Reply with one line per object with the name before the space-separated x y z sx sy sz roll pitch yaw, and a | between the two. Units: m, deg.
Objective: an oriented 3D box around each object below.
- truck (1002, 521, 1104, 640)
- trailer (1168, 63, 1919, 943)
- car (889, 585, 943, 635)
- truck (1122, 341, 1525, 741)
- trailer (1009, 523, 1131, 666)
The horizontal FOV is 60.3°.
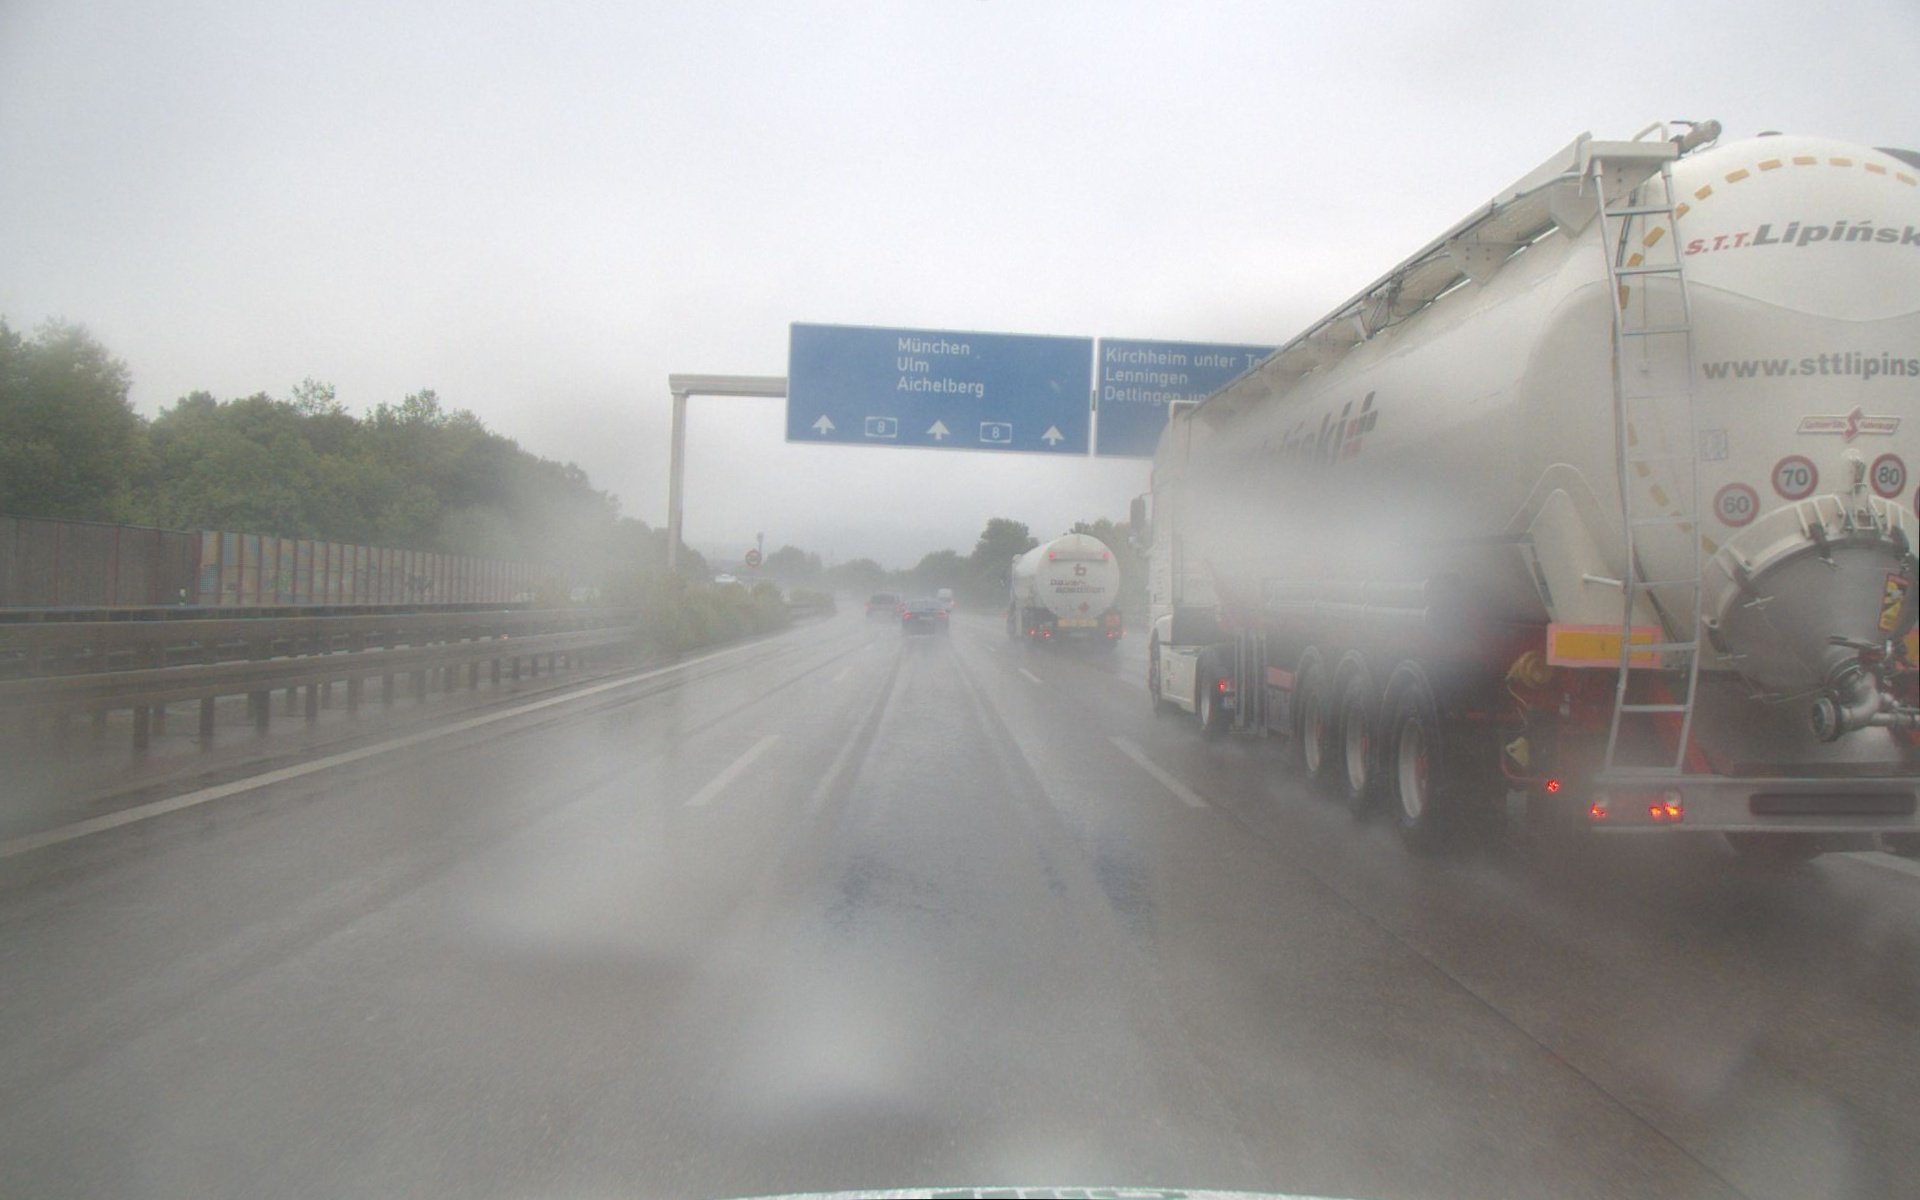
truck | 3.048 -0.642 55.998 2.884 3.748 6.360 1 0 -2
trailer | 4.066 -0.454 12.919 3.124 3.734 11.664 1 1 -1
car | -1.644 0.346 62.021 1.938 1.787 4.480 0 1 -1
truck | 3.907 -0.585 19.765 3.042 3.873 7.210 1 0 -2
trailer | 3.172 -0.175 50.165 2.943 3.915 8.622 1 0 -1
